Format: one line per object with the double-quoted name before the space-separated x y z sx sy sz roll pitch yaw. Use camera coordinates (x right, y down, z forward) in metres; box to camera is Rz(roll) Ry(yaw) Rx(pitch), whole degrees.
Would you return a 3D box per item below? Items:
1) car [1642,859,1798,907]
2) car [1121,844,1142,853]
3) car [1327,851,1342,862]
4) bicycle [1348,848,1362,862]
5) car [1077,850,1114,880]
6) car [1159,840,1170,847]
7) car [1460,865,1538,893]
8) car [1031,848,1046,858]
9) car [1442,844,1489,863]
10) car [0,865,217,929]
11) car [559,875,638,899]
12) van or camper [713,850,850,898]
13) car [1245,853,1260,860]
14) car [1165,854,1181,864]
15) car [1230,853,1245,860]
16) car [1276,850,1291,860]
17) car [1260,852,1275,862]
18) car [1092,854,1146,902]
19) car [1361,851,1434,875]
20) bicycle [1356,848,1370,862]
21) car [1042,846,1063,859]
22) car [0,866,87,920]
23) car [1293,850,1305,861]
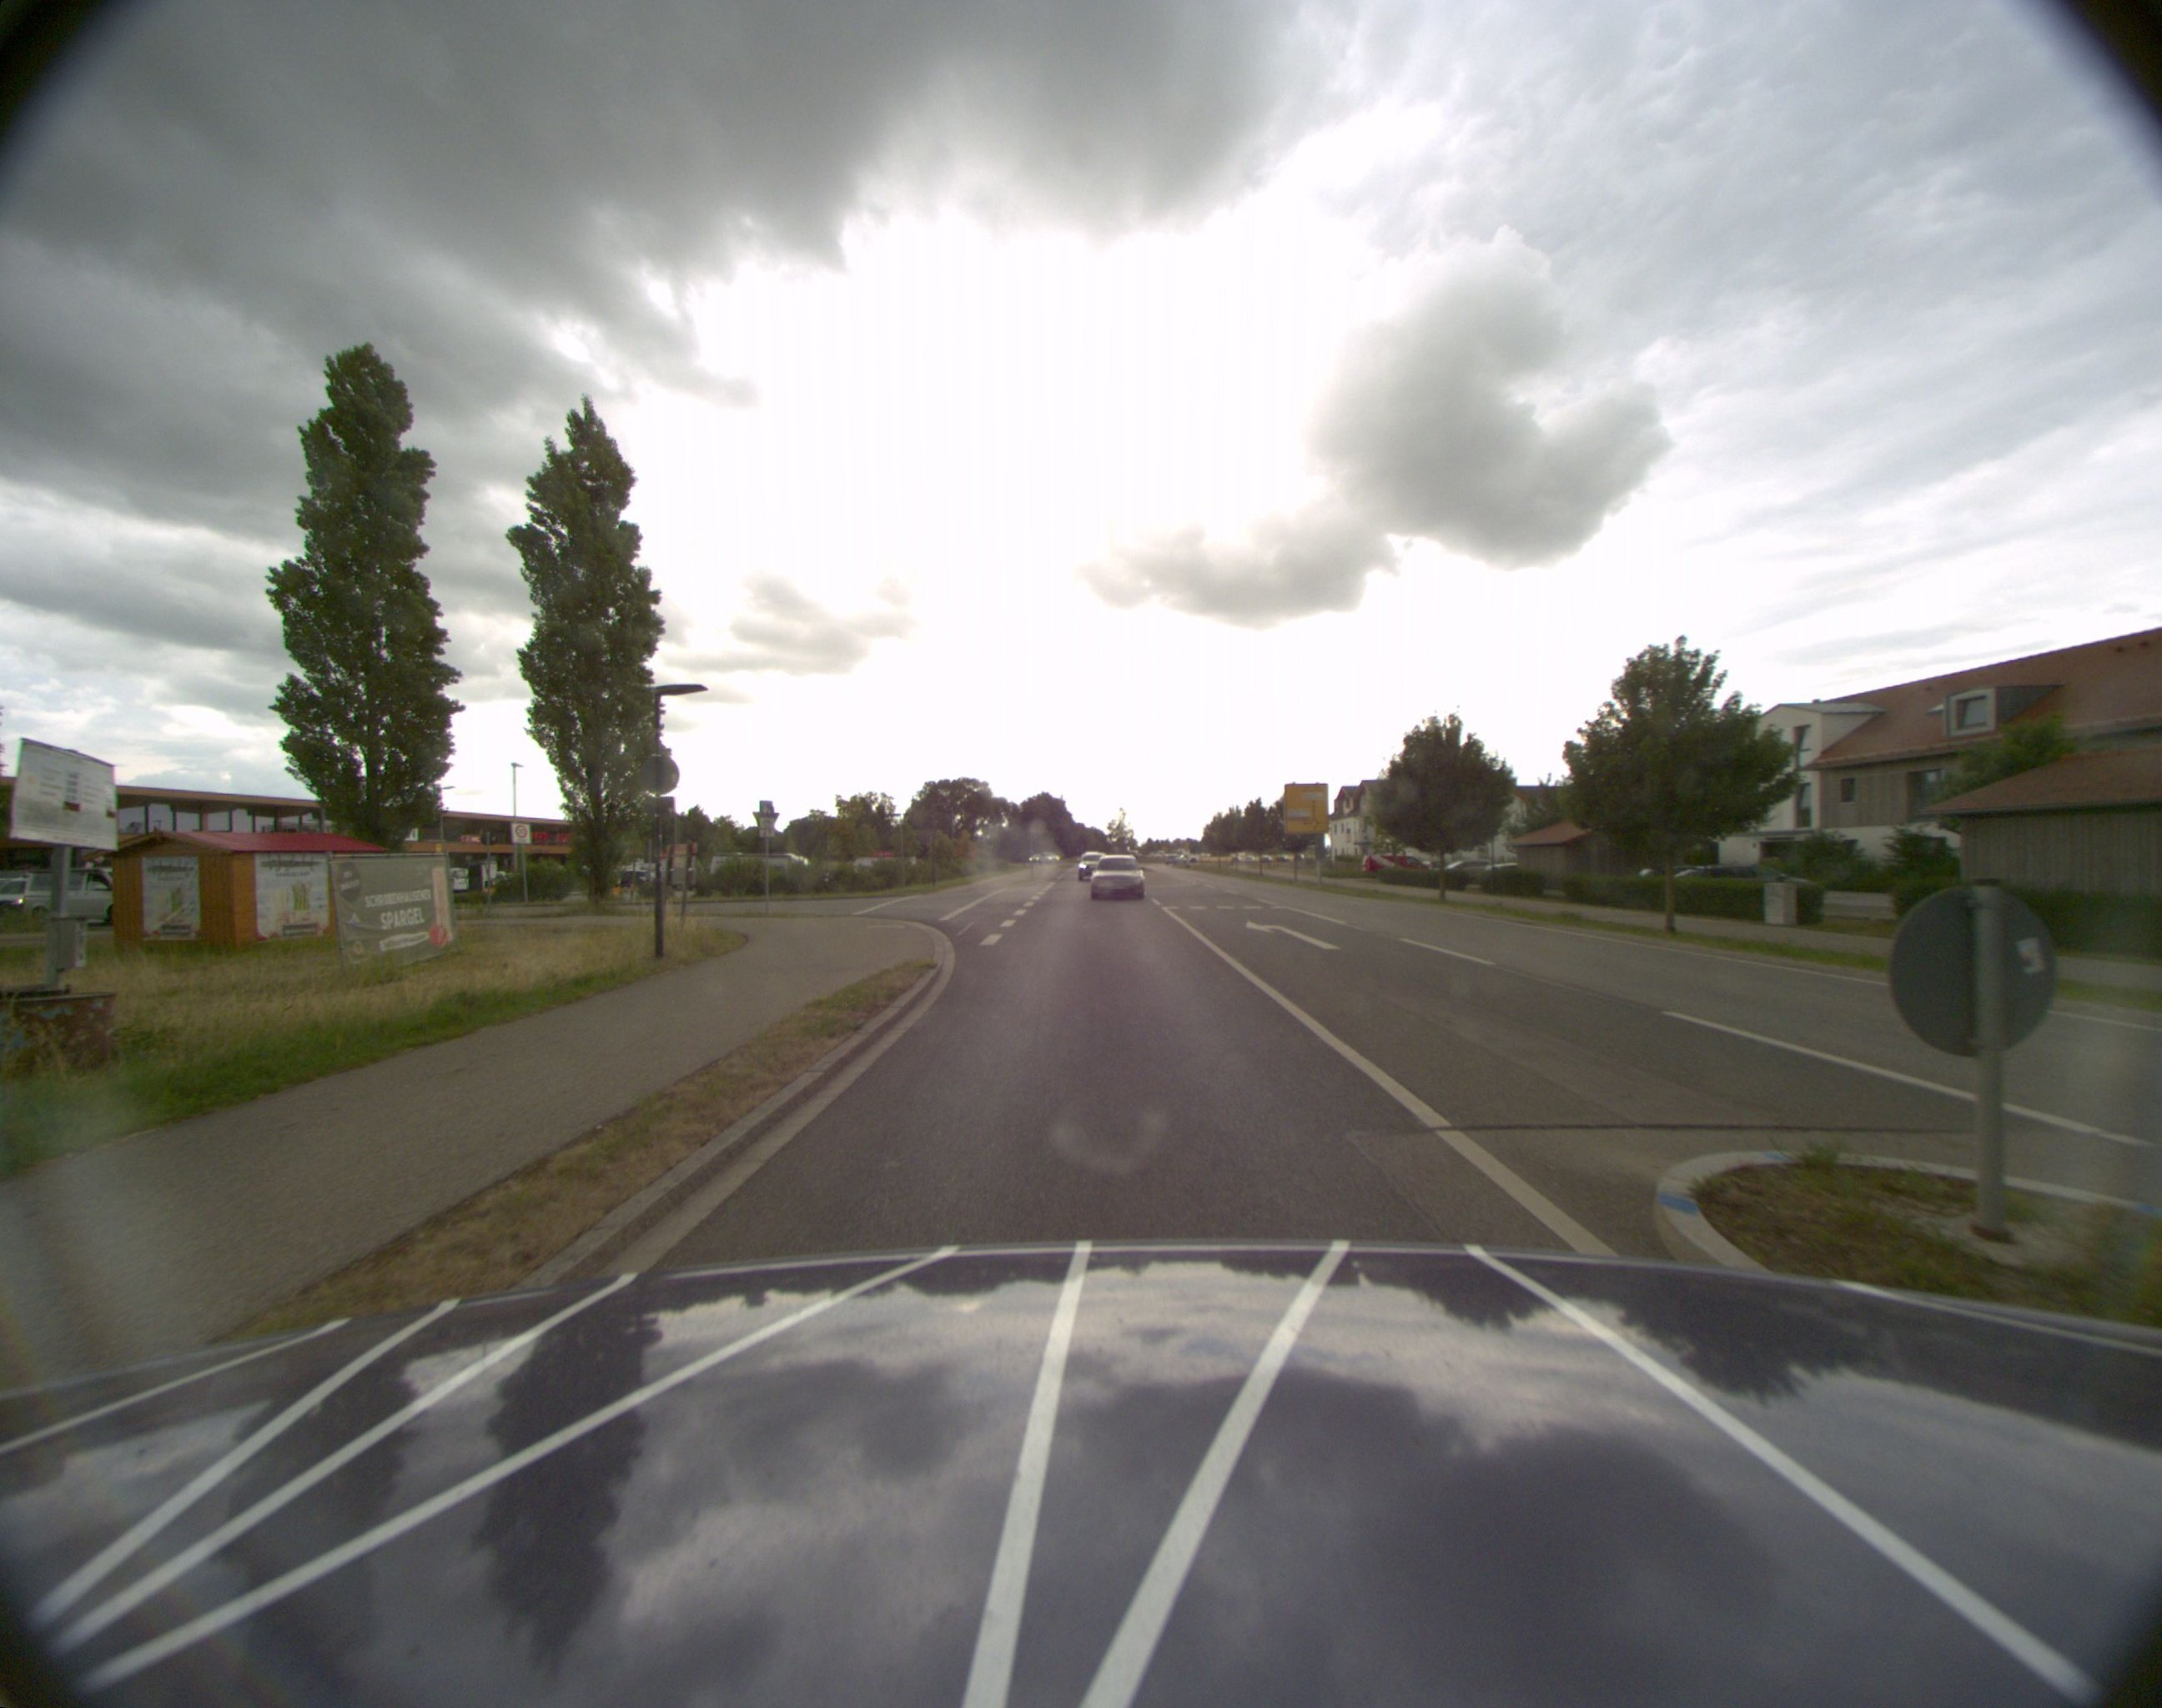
"car" 23.501 1.038 28.091 3.996 1.608 2.000 1 0 2
"car" 9.774 -1.055 146.654 1.994 1.674 4.009 1 0 38
"car" 48.562 0.525 145.534 1.994 2.002 4.008 1 0 29
"bicycle" 28.437 0.081 78.795 0.684 1.409 2.094 1 0 1
"car" 0.898 0.567 42.880 1.869 1.578 5.063 -1 1 3
"car" 17.232 -2.132 156.755 1.774 1.435 4.000 1 0 1
"car" 23.457 1.401 42.726 3.523 1.480 1.563 1 0 1
"car" -7.046 -0.181 126.138 1.998 1.674 4.001 1 0 4
"car" 32.537 -0.012 64.449 1.998 1.499 4.000 1 0 1
"car" -33.674 1.447 26.334 5.229 2.002 2.000 1 0 1
"car" -32.790 2.233 51.709 4.188 1.424 1.902 1 0 -1
"van or camper" -16.114 1.060 41.185 6.483 2.450 2.281 1 0 -1
"car" 33.870 0.524 150.107 1.995 1.280 4.007 1 0 26
"car" 13.243 0.713 109.730 1.774 1.435 4.000 1 0 1
"car" 31.238 0.476 151.626 1.995 1.280 4.007 1 0 26
"car" 39.287 0.213 147.247 1.995 2.002 4.007 1 0 26
"car" 36.531 0.572 149.003 1.995 2.002 4.007 1 0 26
"car" 1.341 0.773 26.096 1.700 1.458 4.001 0 1 4
"car" 24.991 0.716 60.117 4.915 1.805 1.907 1 0 6
"bicycle" 29.211 0.093 78.756 0.684 1.420 2.094 1 0 1
"car" -4.362 -0.246 115.398 2.002 2.002 4.234 1 0 -20
"car" -43.182 1.523 31.069 2.004 2.002 3.989 1 0 -36
"car" 41.827 0.237 145.734 1.996 2.002 4.005 1 0 16
